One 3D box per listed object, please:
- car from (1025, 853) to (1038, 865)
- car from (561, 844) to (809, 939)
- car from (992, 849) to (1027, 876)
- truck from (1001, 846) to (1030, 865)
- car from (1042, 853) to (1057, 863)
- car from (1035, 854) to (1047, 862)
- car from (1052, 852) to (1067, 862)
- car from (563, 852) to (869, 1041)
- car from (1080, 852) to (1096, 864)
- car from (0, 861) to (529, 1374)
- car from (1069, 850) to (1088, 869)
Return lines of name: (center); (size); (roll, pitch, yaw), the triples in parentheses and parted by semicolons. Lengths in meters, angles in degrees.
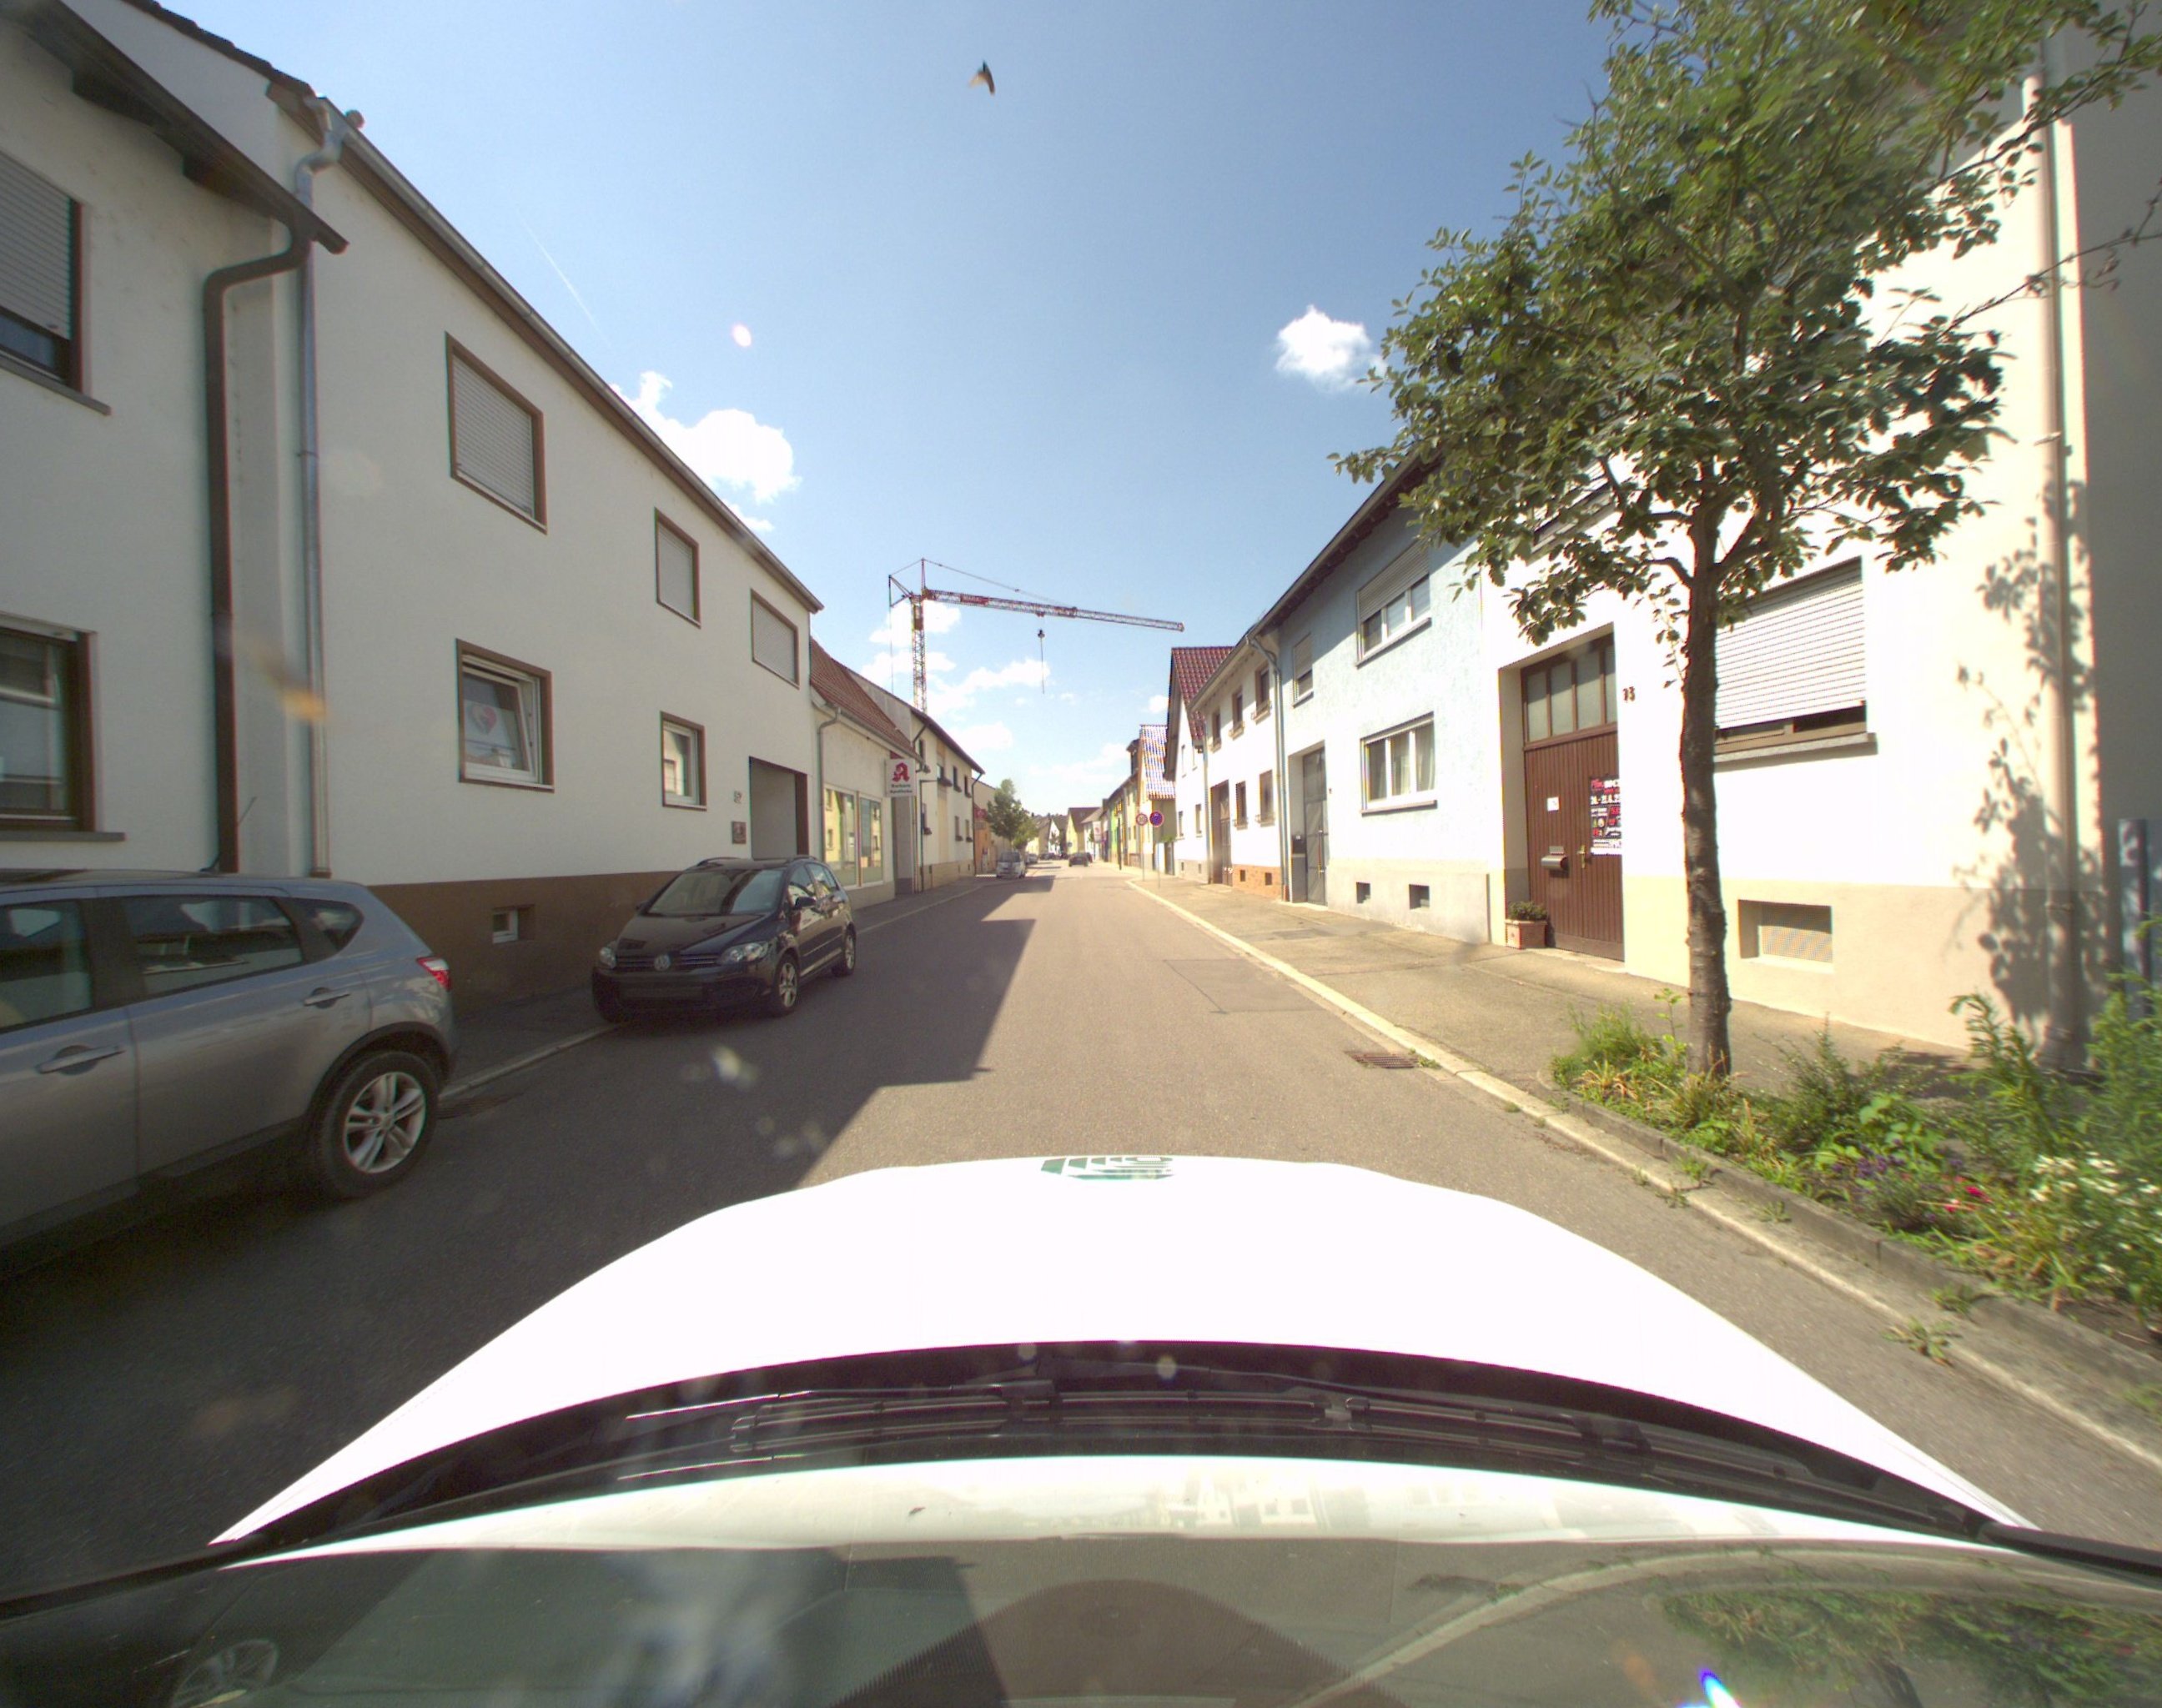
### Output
car: (-7.156, 0.716, 117.346); (1.731, 1.687, 4.225); (0, 0, -5)
car: (-8.208, 0.745, 17.205); (4.230, 1.748, 1.879); (-2, 0, -2)
car: (-4.210, 0.481, 48.408); (1.718, 1.555, 4.171); (0, 0, 0)
truck: (-14.907, 0.413, 183.430); (3.387, 3.865, 13.844); (-2, 0, -17)
car: (-6.396, 0.816, 164.932); (1.825, 1.753, 4.205); (-2, 0, -17)
car: (-8.493, 0.859, 172.361); (1.823, 1.753, 4.209); (-2, 0, -13)
car: (-4.126, 0.543, 155.311); (1.787, 1.753, 4.203); (-2, 0, -17)
car: (-3.742, 0.805, 9.206); (1.649, 1.609, 4.059); (-2, 0, -1)
car: (0.887, 0.558, 108.525); (1.779, 1.564, 4.332); (-2, 0, -3)
car: (-4.175, 0.839, 2.725); (1.753, 1.525, 4.286); (-2, 0, -1)
car: (-0.236, 0.540, 82.881); (1.778, 1.753, 3.997); (-2, 0, -2)
